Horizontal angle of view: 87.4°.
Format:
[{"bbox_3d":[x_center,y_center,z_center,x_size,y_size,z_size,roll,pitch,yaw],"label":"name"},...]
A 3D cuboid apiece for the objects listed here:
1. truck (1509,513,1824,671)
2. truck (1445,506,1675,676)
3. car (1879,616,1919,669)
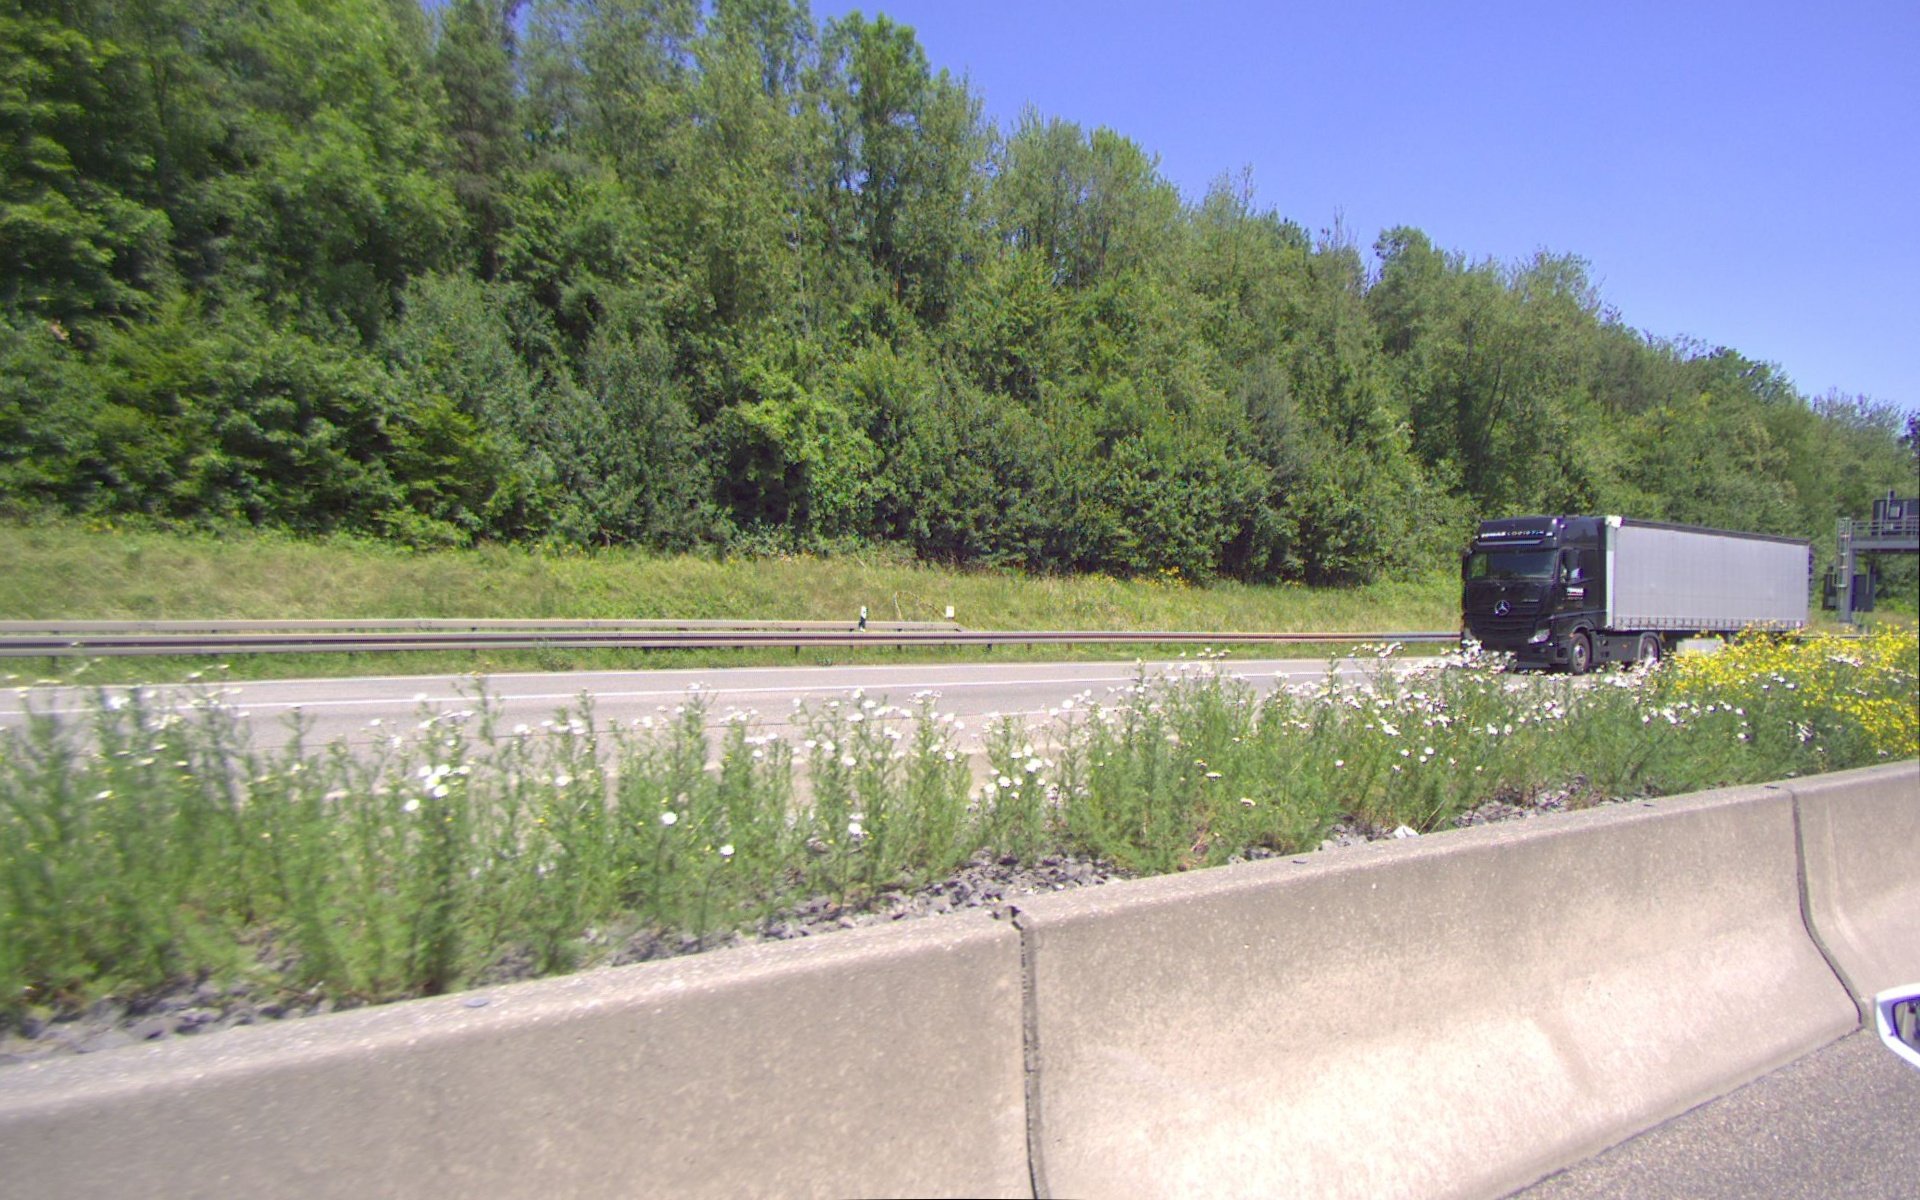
[{"bbox_3d":[21.599,-0.111,30.150,13.596,3.991,2.813,1,0,-33],"label":"truck"},{"bbox_3d":[15.818,-0.184,26.393,5.941,3.992,2.813,1,0,-33],"label":"truck"},{"bbox_3d":[29.295,1.260,29.709,4.198,1.518,1.984,1,0,-31],"label":"car"}]
